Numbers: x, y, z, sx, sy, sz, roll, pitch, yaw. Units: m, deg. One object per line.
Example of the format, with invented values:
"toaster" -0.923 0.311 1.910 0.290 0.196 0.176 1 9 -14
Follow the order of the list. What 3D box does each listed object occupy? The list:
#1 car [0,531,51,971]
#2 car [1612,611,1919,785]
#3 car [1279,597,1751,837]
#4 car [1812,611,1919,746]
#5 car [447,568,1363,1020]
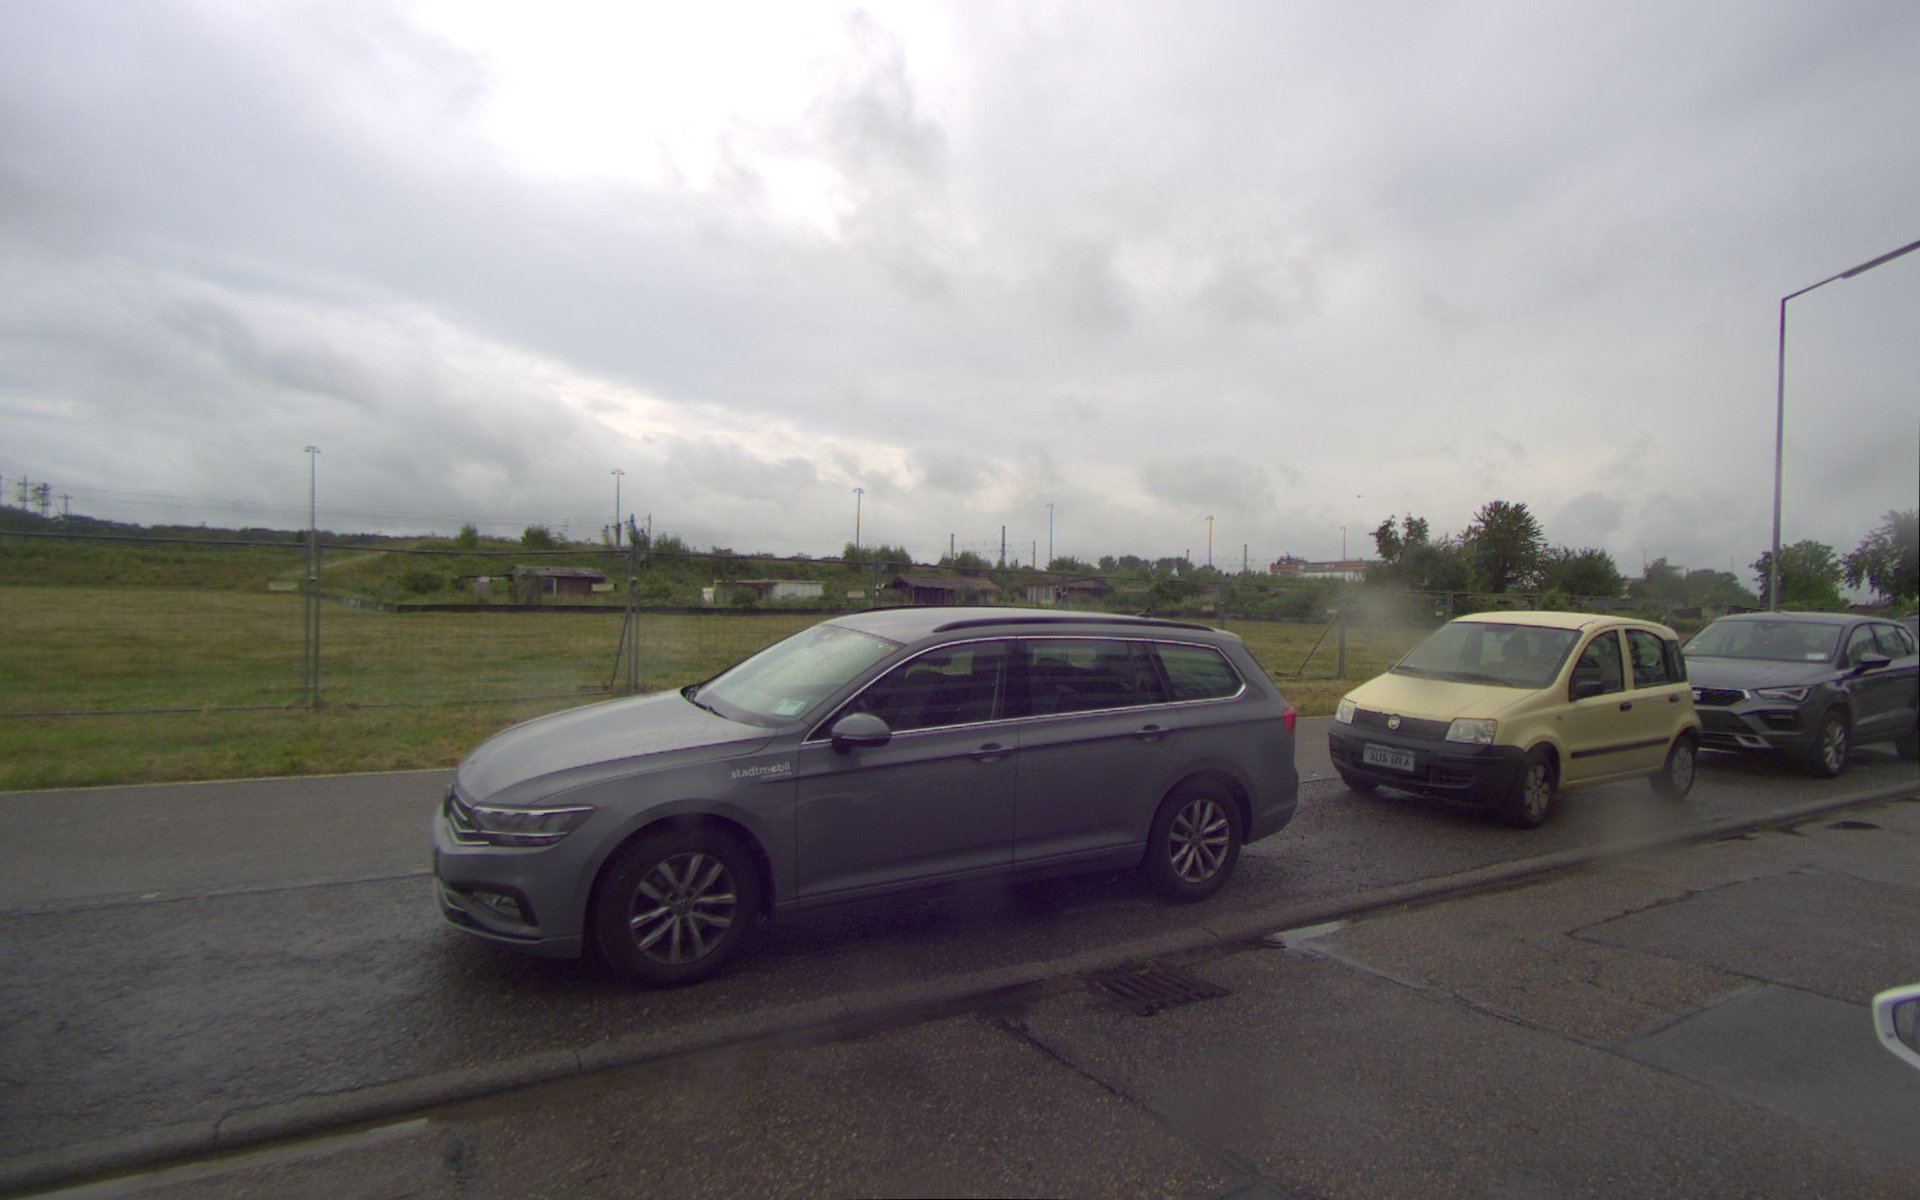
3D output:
"car" -5.501 0.530 2.182 4.933 1.629 1.842 2 3 -32
"car" 9.377 0.977 11.329 4.085 1.611 1.744 1 0 -31
"car" 4.842 0.852 8.602 4.164 1.596 1.716 2 0 -32
"car" 14.403 1.072 14.333 4.819 1.715 1.746 1 0 -28
"car" -0.139 0.734 5.462 4.616 1.549 1.828 2 2 -30
